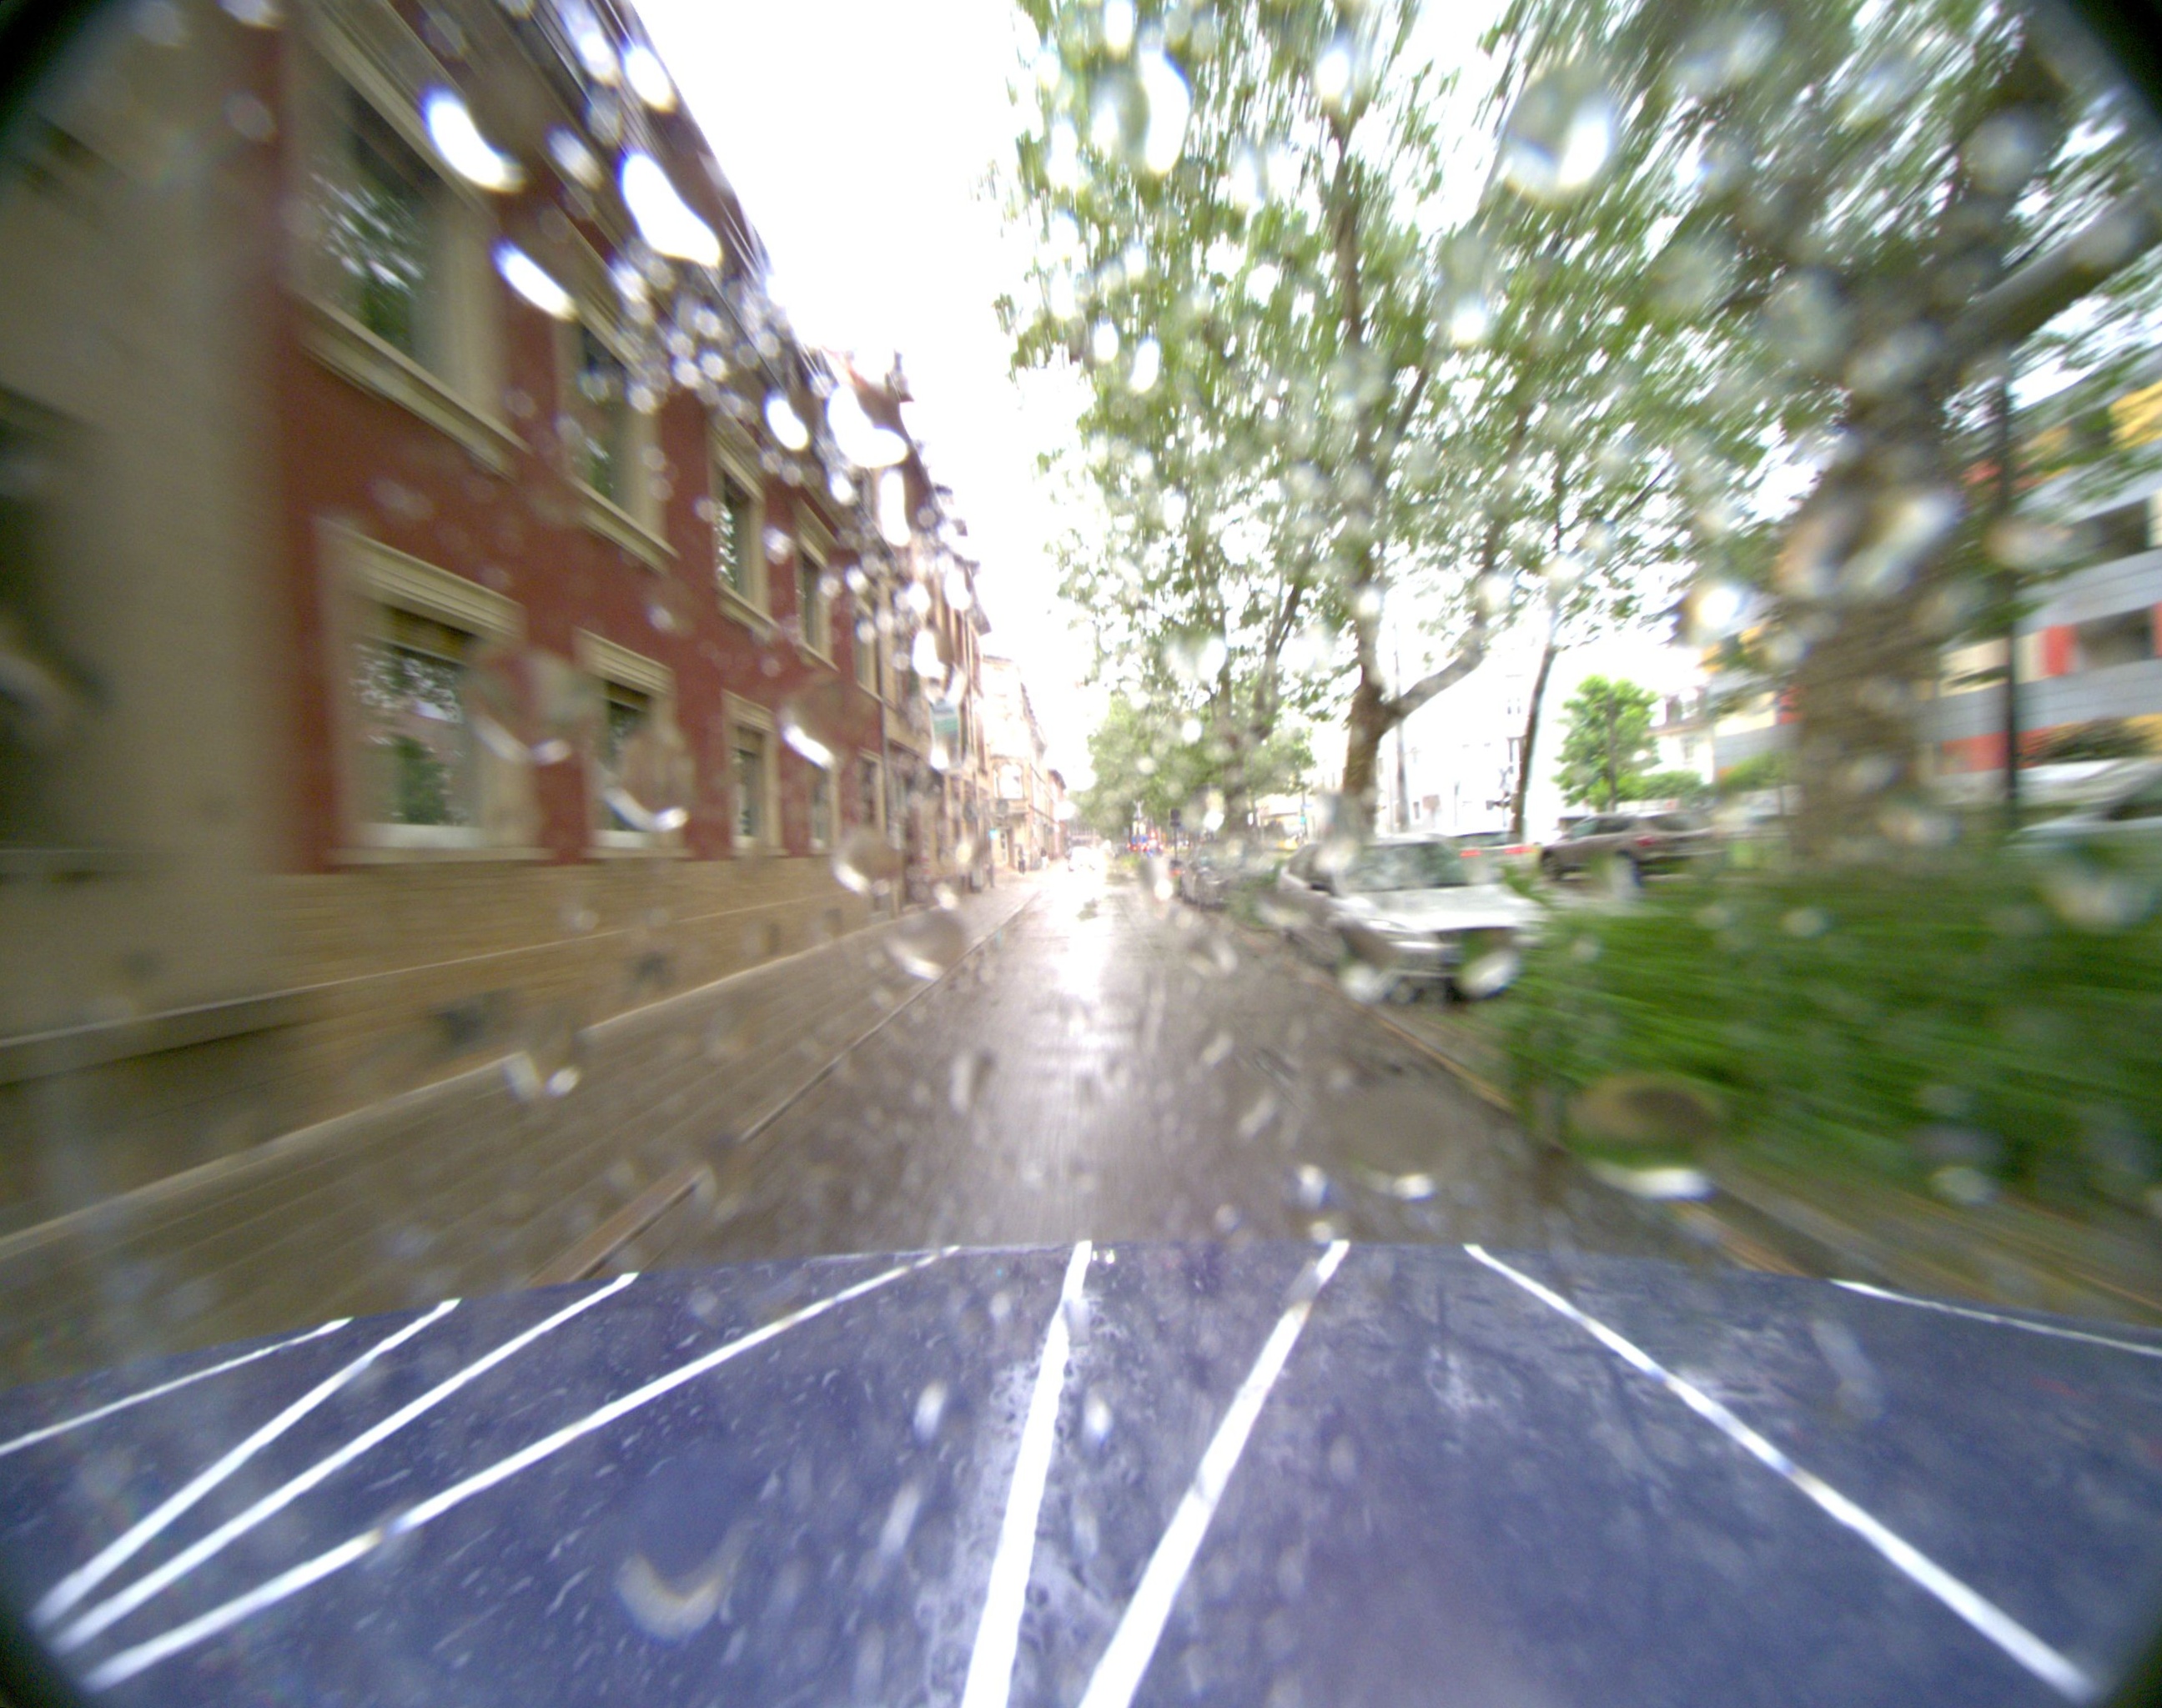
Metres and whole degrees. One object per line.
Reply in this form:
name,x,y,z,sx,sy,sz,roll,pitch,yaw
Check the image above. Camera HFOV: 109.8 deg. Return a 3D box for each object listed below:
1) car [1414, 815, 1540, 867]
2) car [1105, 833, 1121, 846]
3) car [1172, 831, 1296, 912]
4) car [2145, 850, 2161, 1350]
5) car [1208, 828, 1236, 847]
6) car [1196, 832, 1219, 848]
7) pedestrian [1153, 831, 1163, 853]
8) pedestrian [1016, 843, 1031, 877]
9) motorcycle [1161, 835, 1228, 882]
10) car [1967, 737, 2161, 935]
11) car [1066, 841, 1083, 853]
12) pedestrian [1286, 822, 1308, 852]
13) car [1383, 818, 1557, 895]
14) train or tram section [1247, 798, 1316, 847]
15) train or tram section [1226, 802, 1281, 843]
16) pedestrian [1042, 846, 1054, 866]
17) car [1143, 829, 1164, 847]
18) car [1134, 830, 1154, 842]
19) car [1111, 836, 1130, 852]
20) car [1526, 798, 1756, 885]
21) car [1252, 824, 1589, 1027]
car,12.824,-0.456,24.962,1.908,1.455,4.387,-4,2,2
car,4.065,-1.870,96.853,1.663,1.567,3.422,-4,2,7
car,3.363,0.288,17.635,1.901,1.477,4.620,-5,2,1
car,4.496,0.681,0.507,4.037,1.427,1.784,-2,2,26
car,12.918,-1.544,69.727,1.676,1.500,3.973,-7,2,1
car,12.934,-1.465,77.899,1.676,1.377,3.704,-7,2,1
pedestrian,6.504,-1.008,64.466,0.663,1.845,0.635,-4,2,2
pedestrian,-3.345,0.343,43.951,0.787,1.903,0.929,0,3,0
motorcycle,3.817,0.171,25.674,2.104,1.492,0.773,-2,3,44
car,11.979,-0.236,6.580,2.059,1.986,5.431,-6,2,-3
car,-0.802,-0.960,99.351,1.976,1.359,4.160,1,2,3
pedestrian,13.630,-1.095,47.984,0.938,1.790,1.205,-3,3,1
car,8.643,-0.028,17.308,1.838,1.412,3.998,-4,2,0
train or tram section,16.917,-2.676,65.124,2.907,3.622,11.547,-4,2,1
train or tram section,17.156,-3.129,76.616,2.907,3.622,11.547,-4,2,1
pedestrian,-2.575,0.143,58.569,0.849,1.565,0.576,1,2,1
car,8.187,-1.853,85.575,1.937,1.839,4.065,-4,2,1
car,8.905,-2.531,106.986,2.062,1.610,4.671,-4,2,-3
car,4.042,-1.017,78.754,1.732,1.474,4.004,-4,2,1
car,12.338,-0.304,17.188,1.909,1.591,4.466,-4,2,1
car,3.219,0.519,8.236,1.733,1.506,4.206,-5,2,1
